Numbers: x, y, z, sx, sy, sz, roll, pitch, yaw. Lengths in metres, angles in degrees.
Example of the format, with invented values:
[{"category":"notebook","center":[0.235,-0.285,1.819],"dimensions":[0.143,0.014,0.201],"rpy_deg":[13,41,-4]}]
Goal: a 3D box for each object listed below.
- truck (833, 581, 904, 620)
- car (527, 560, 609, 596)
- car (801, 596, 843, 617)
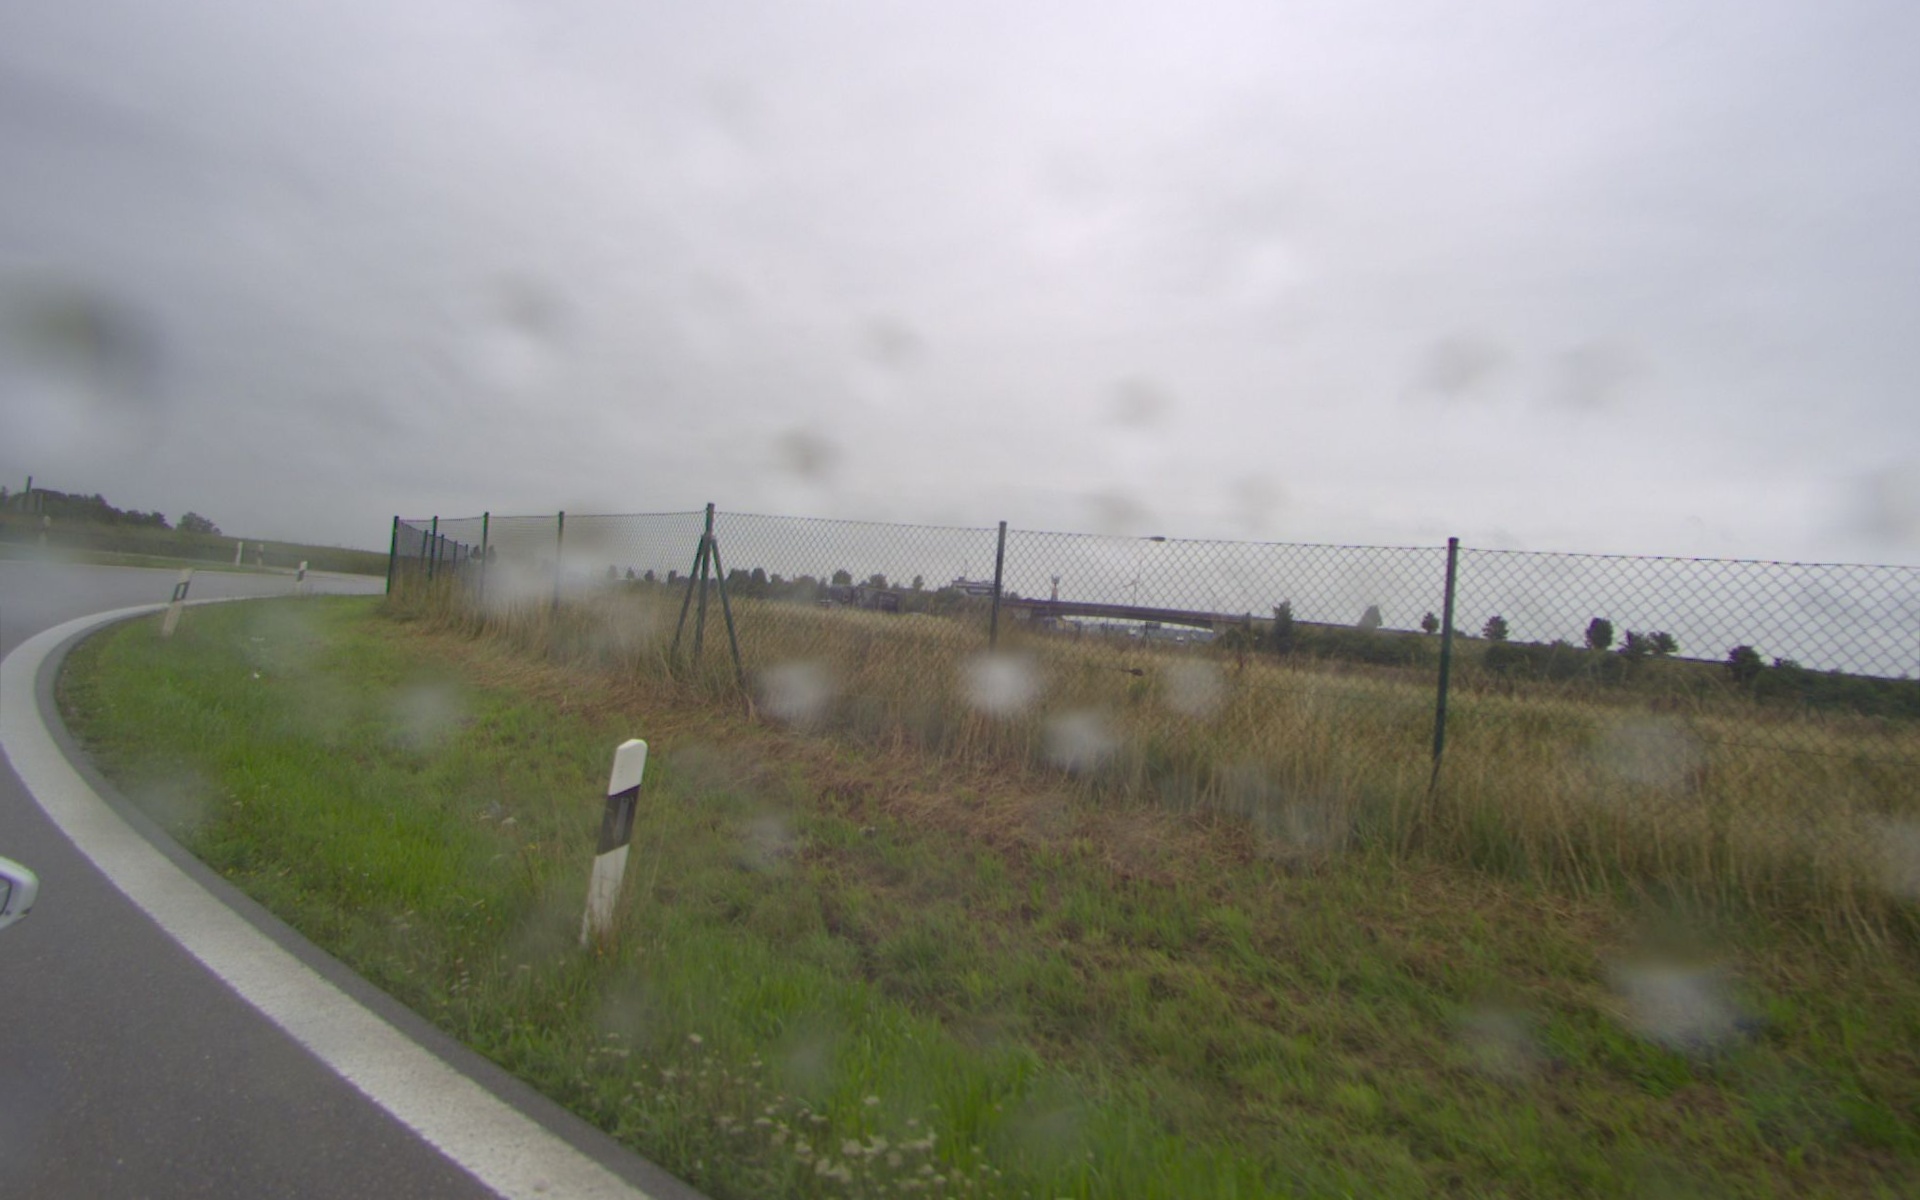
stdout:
[{"category":"truck","center":[-11.872,0.220,132.503],"dimensions":[3.145,4.014,13.814],"rpy_deg":[8,0,21]},{"category":"car","center":[-23.342,-1.278,60.074],"dimensions":[2.022,1.656,4.350],"rpy_deg":[6,-1,21]},{"category":"car","center":[-12.512,0.577,91.423],"dimensions":[1.963,1.719,3.996],"rpy_deg":[3,0,21]}]
